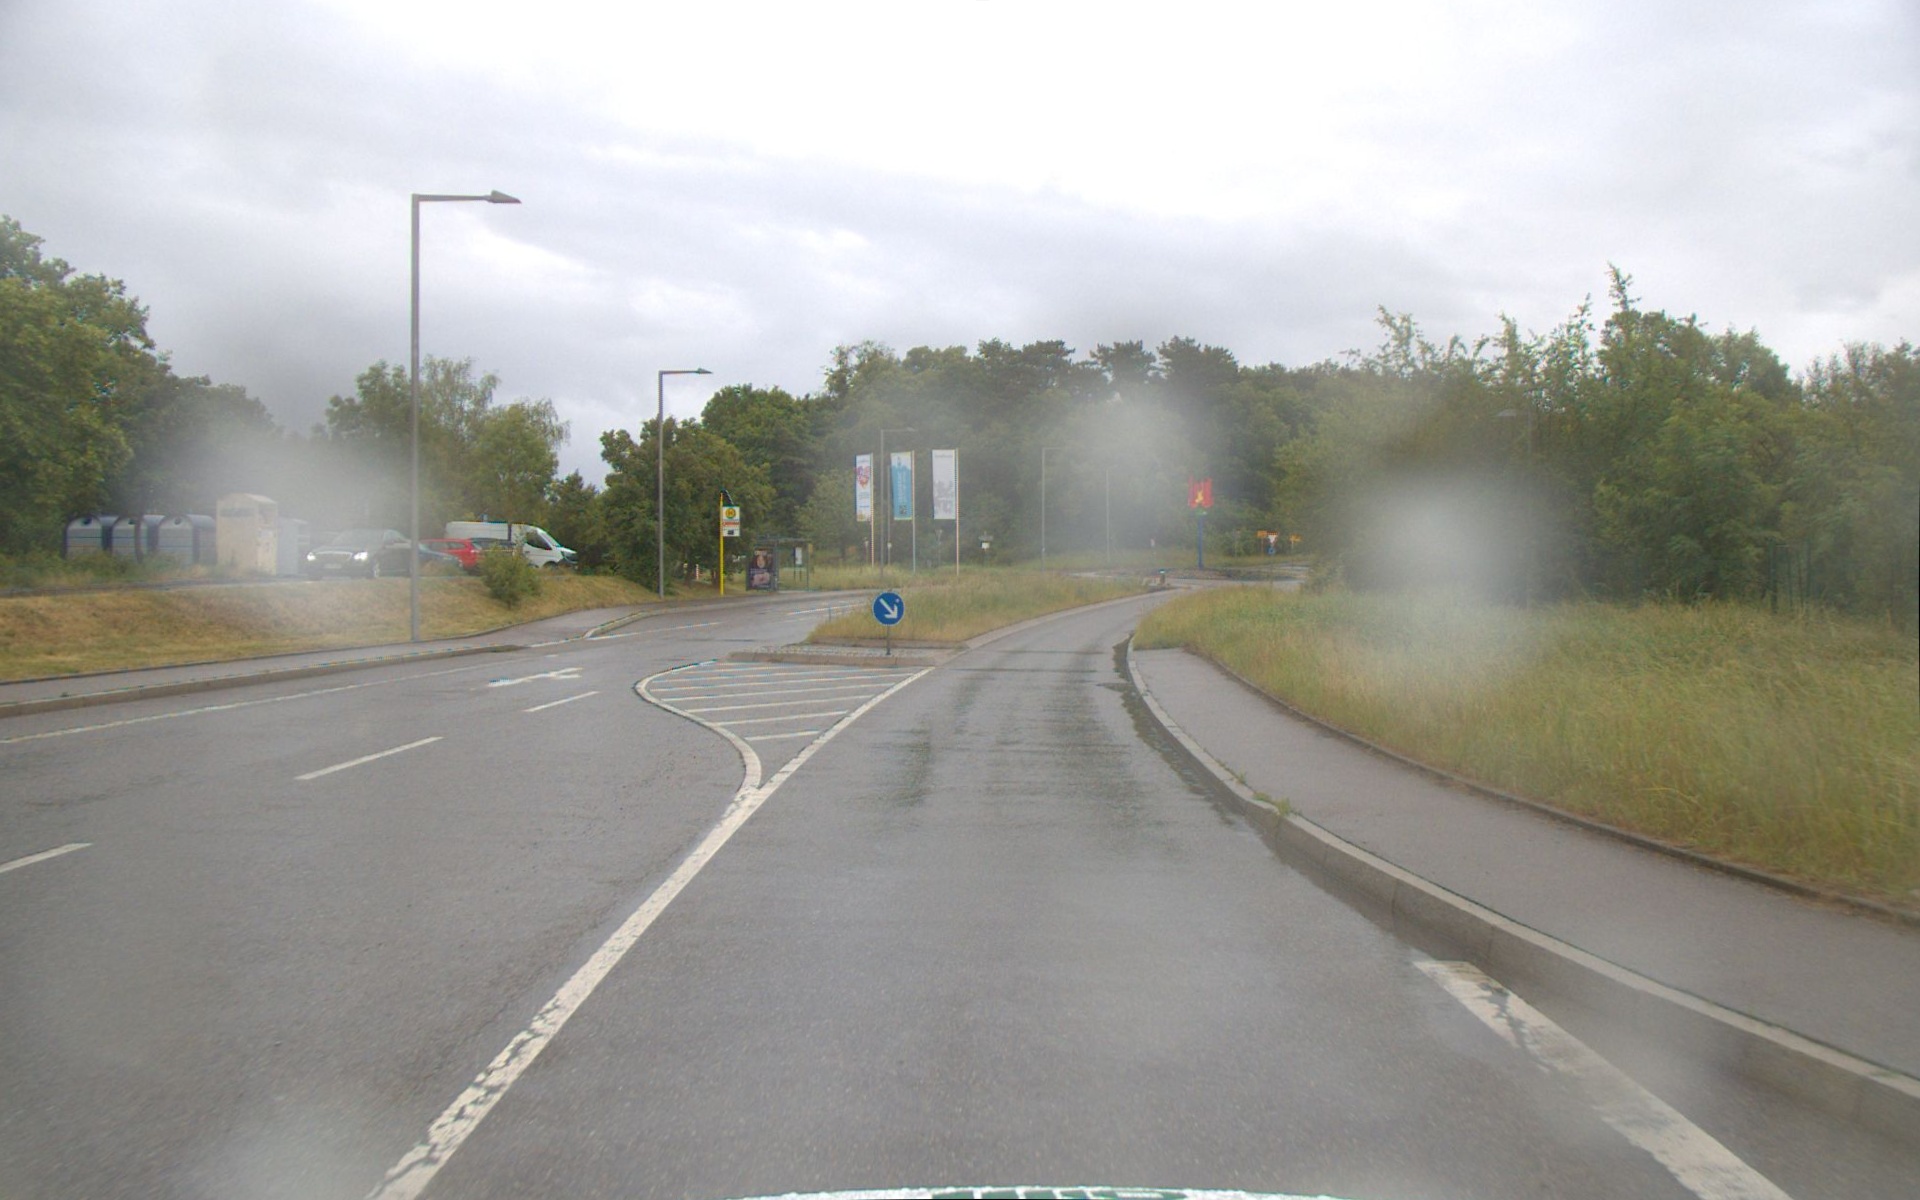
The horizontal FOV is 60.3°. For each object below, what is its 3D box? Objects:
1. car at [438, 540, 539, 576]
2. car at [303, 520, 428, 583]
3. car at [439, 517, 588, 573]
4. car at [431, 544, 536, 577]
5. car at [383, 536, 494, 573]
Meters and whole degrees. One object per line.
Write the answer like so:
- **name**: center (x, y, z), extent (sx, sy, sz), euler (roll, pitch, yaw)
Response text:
- **car**: center (-20.754, -1.835, 72.827), extent (3.903, 1.387, 1.654), euler (3, 1, 5)
- **car**: center (-16.740, -1.397, 46.818), extent (1.656, 1.595, 4.544), euler (3, 2, 3)
- **car**: center (-21.160, -2.609, 78.620), extent (6.421, 2.439, 2.139), euler (1, 0, 0)
- **car**: center (-20.376, -1.704, 70.756), extent (3.902, 1.388, 1.849), euler (0, 1, 5)
- **car**: center (-21.272, -1.857, 67.531), extent (3.903, 1.494, 1.849), euler (0, 1, 4)
